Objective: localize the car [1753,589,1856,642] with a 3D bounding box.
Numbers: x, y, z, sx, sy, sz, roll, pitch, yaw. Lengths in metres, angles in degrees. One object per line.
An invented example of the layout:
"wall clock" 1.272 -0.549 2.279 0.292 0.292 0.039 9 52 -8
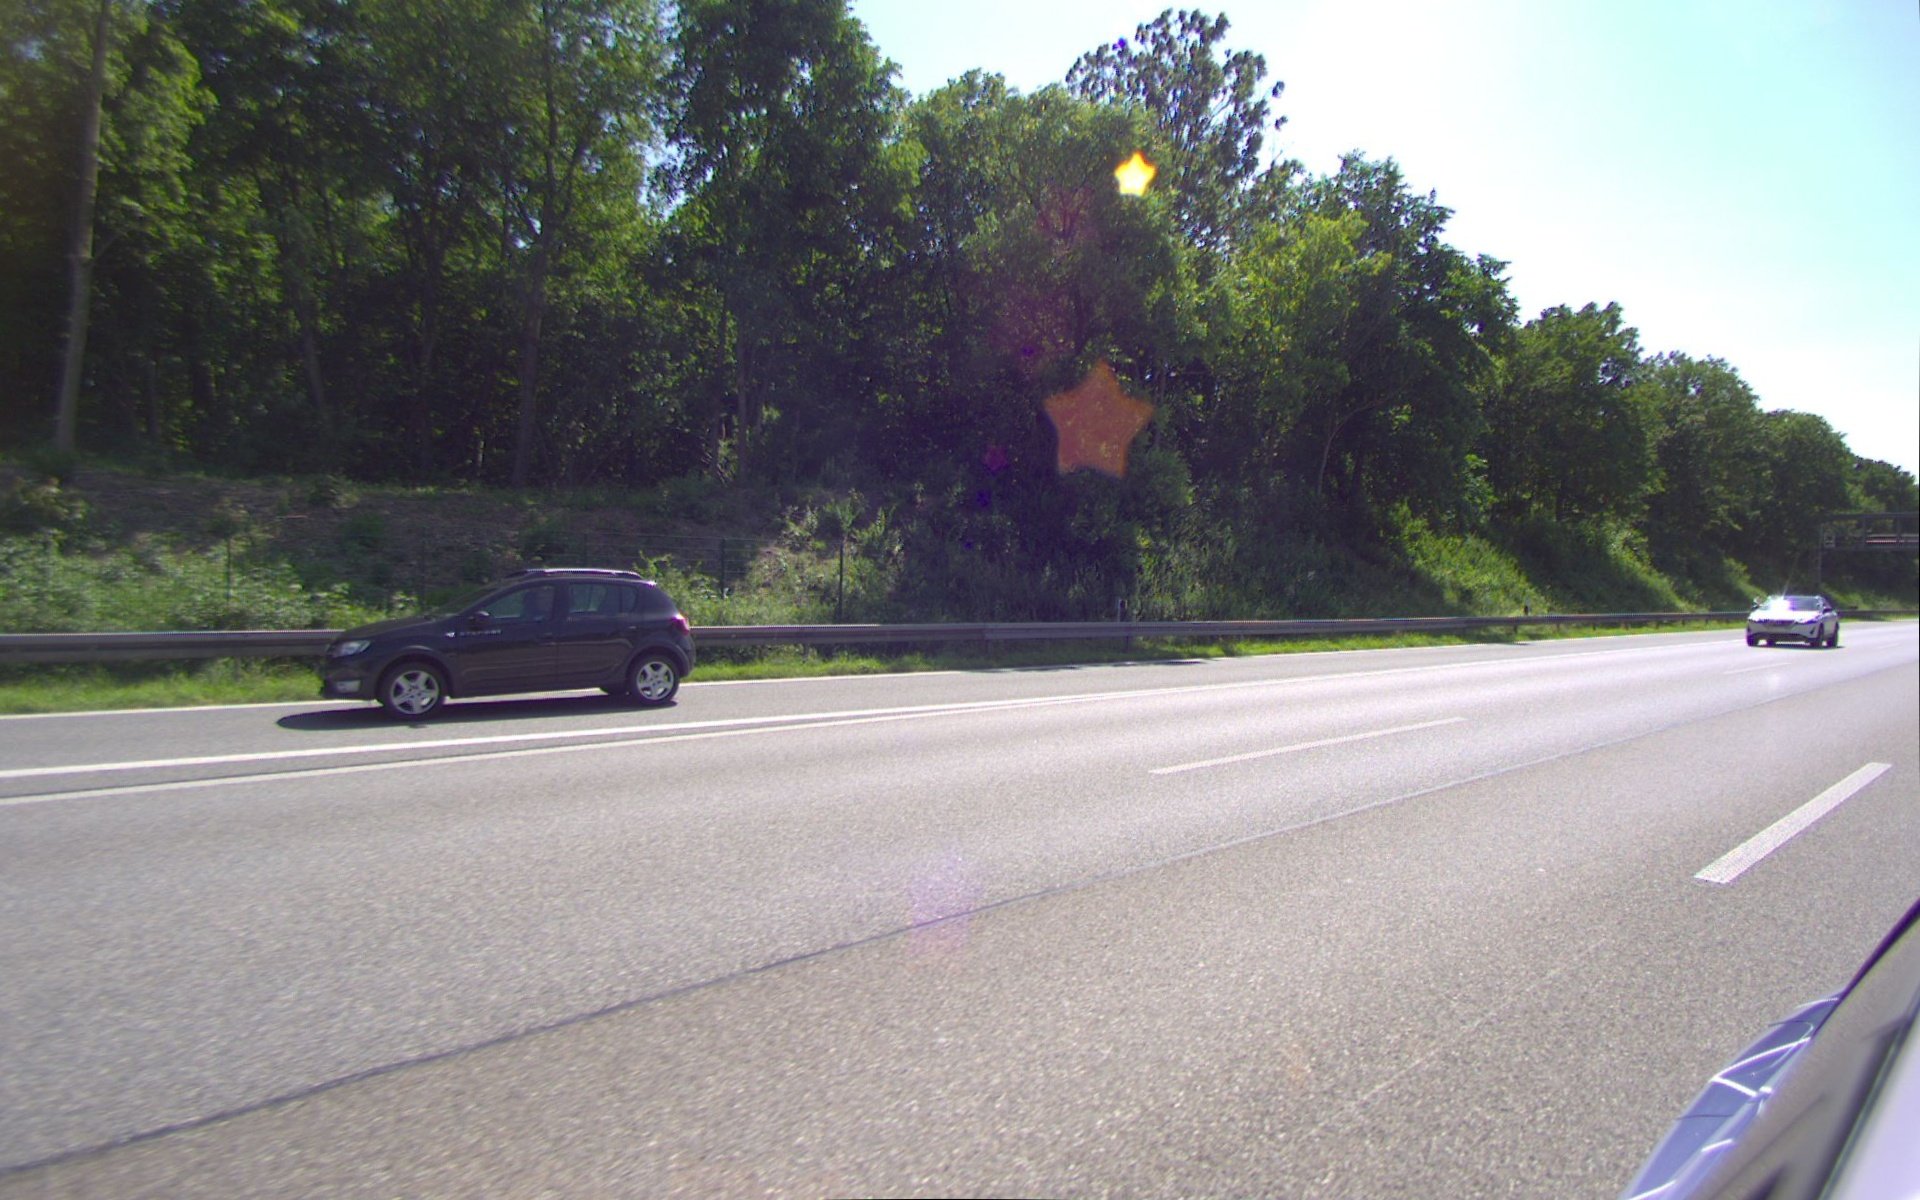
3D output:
"car" 26.811 0.455 32.100 3.963 1.588 1.847 0 0 -40

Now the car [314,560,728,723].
"car" -5.028 0.408 11.827 4.177 1.588 1.770 0 0 -35
